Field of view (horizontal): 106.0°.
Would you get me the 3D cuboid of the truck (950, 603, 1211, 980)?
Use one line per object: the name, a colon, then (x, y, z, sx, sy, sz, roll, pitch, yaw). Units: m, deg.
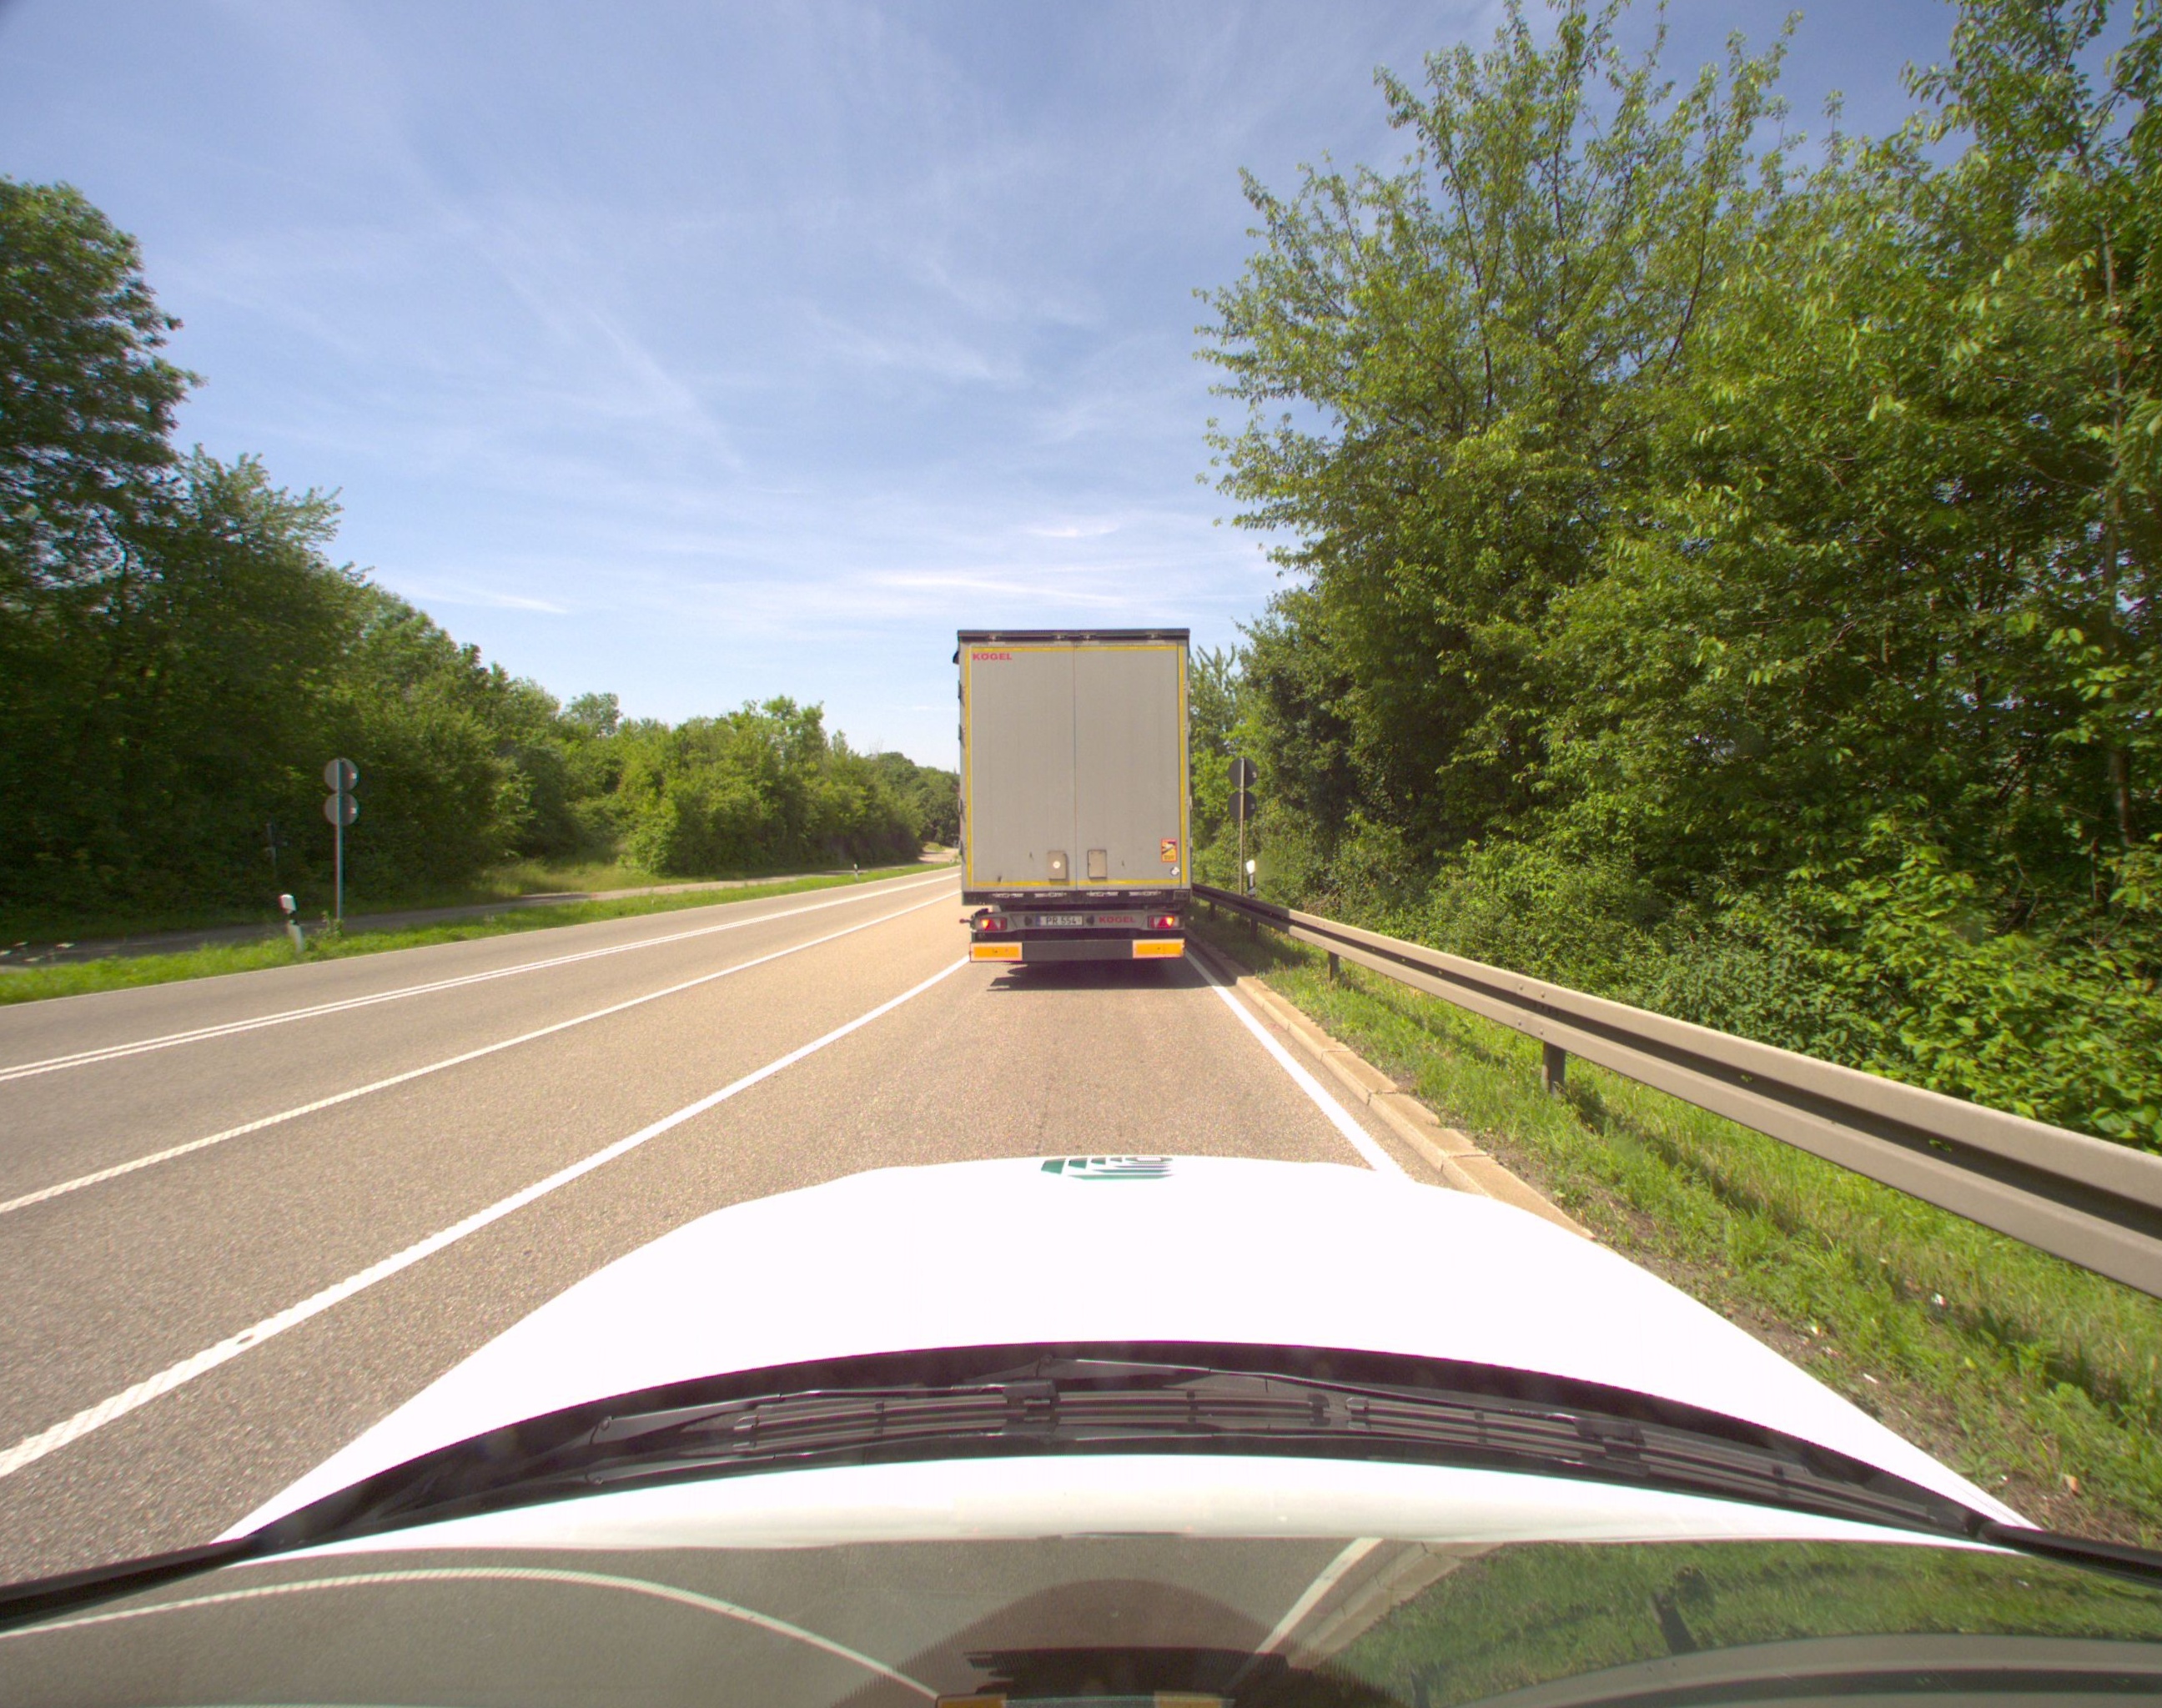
truck: (0.105, -0.689, 14.728, 2.747, 4.029, 11.925, -1, 0, 1)
